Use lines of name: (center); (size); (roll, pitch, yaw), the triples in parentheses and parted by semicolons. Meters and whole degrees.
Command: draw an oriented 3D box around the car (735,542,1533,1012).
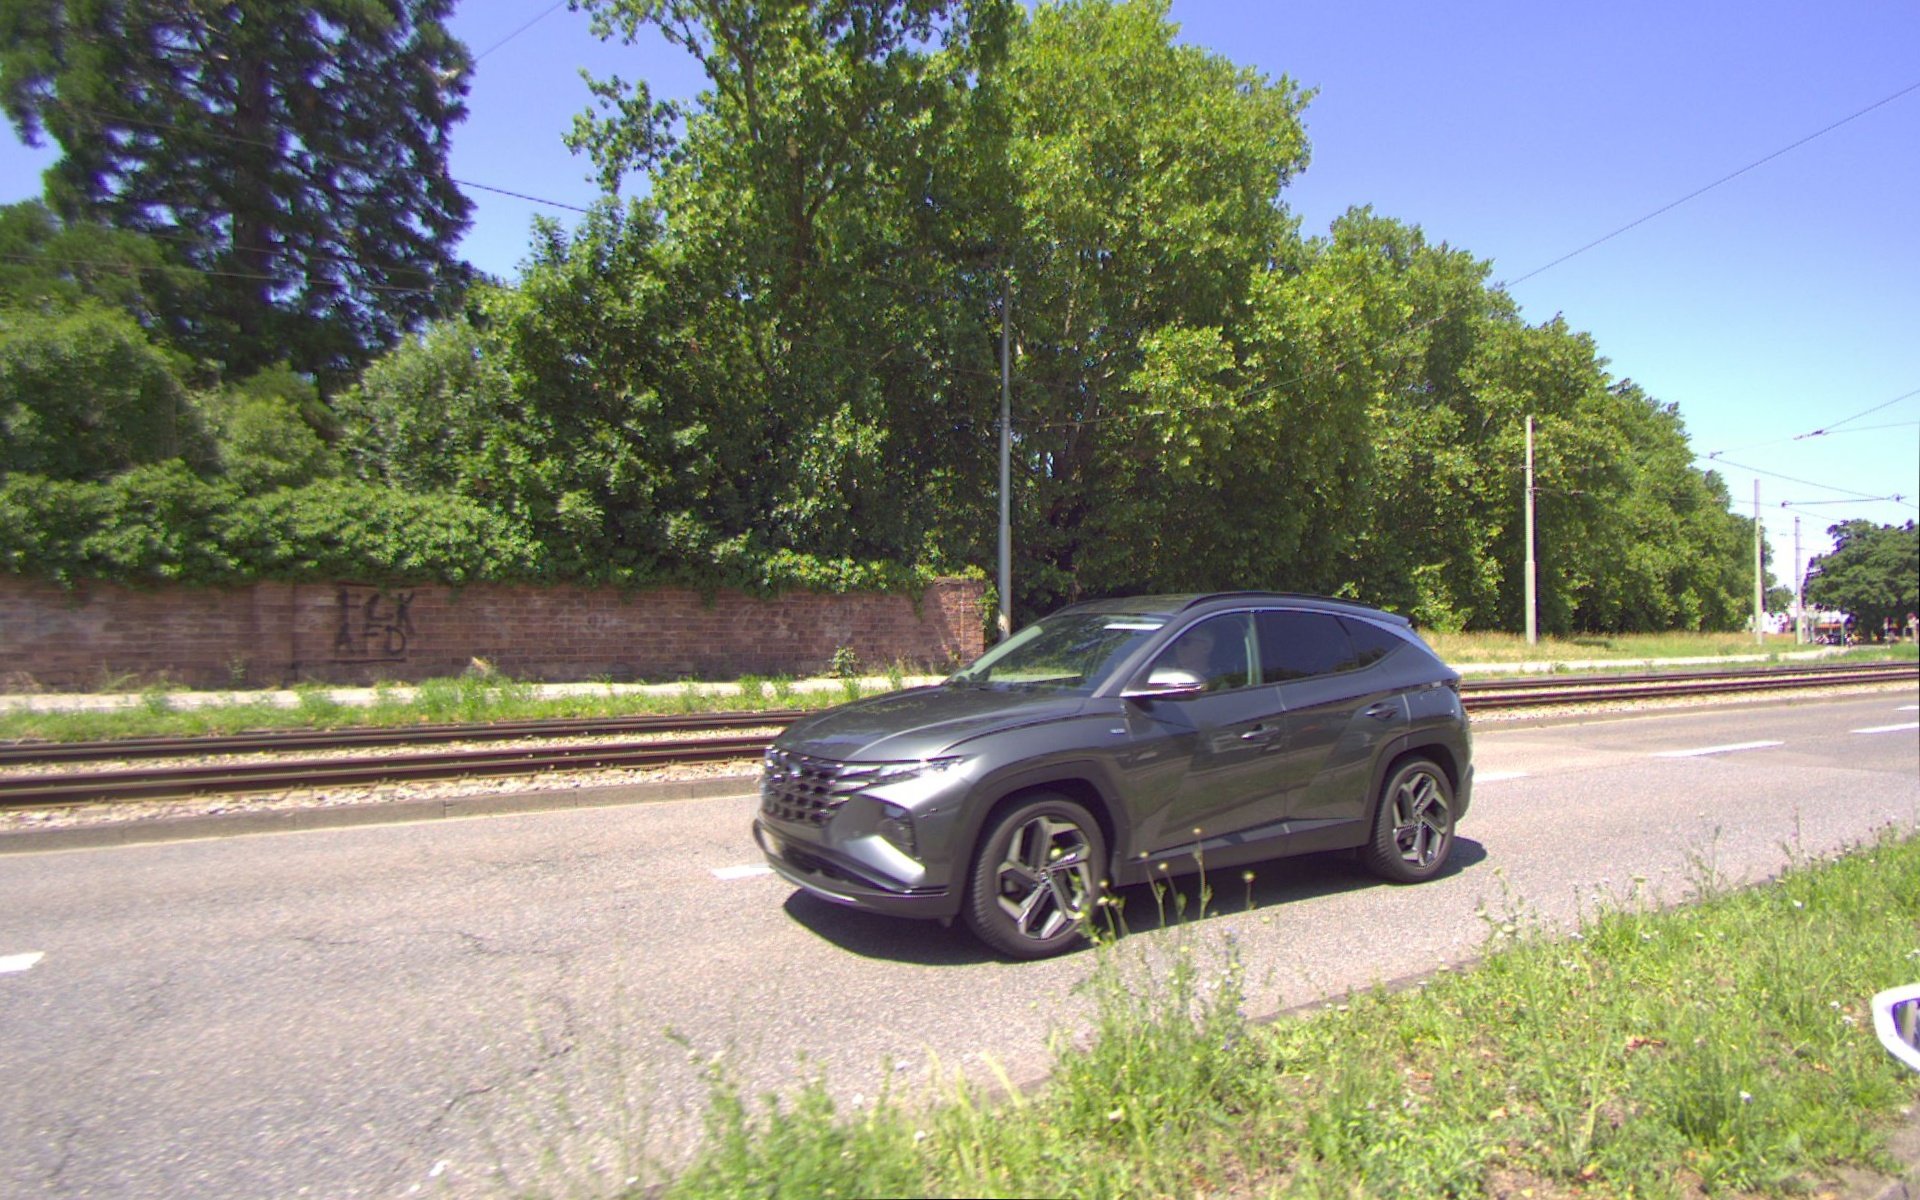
car: (1.143, 0.744, 5.773); (4.437, 1.779, 1.820); (1, -3, -32)
